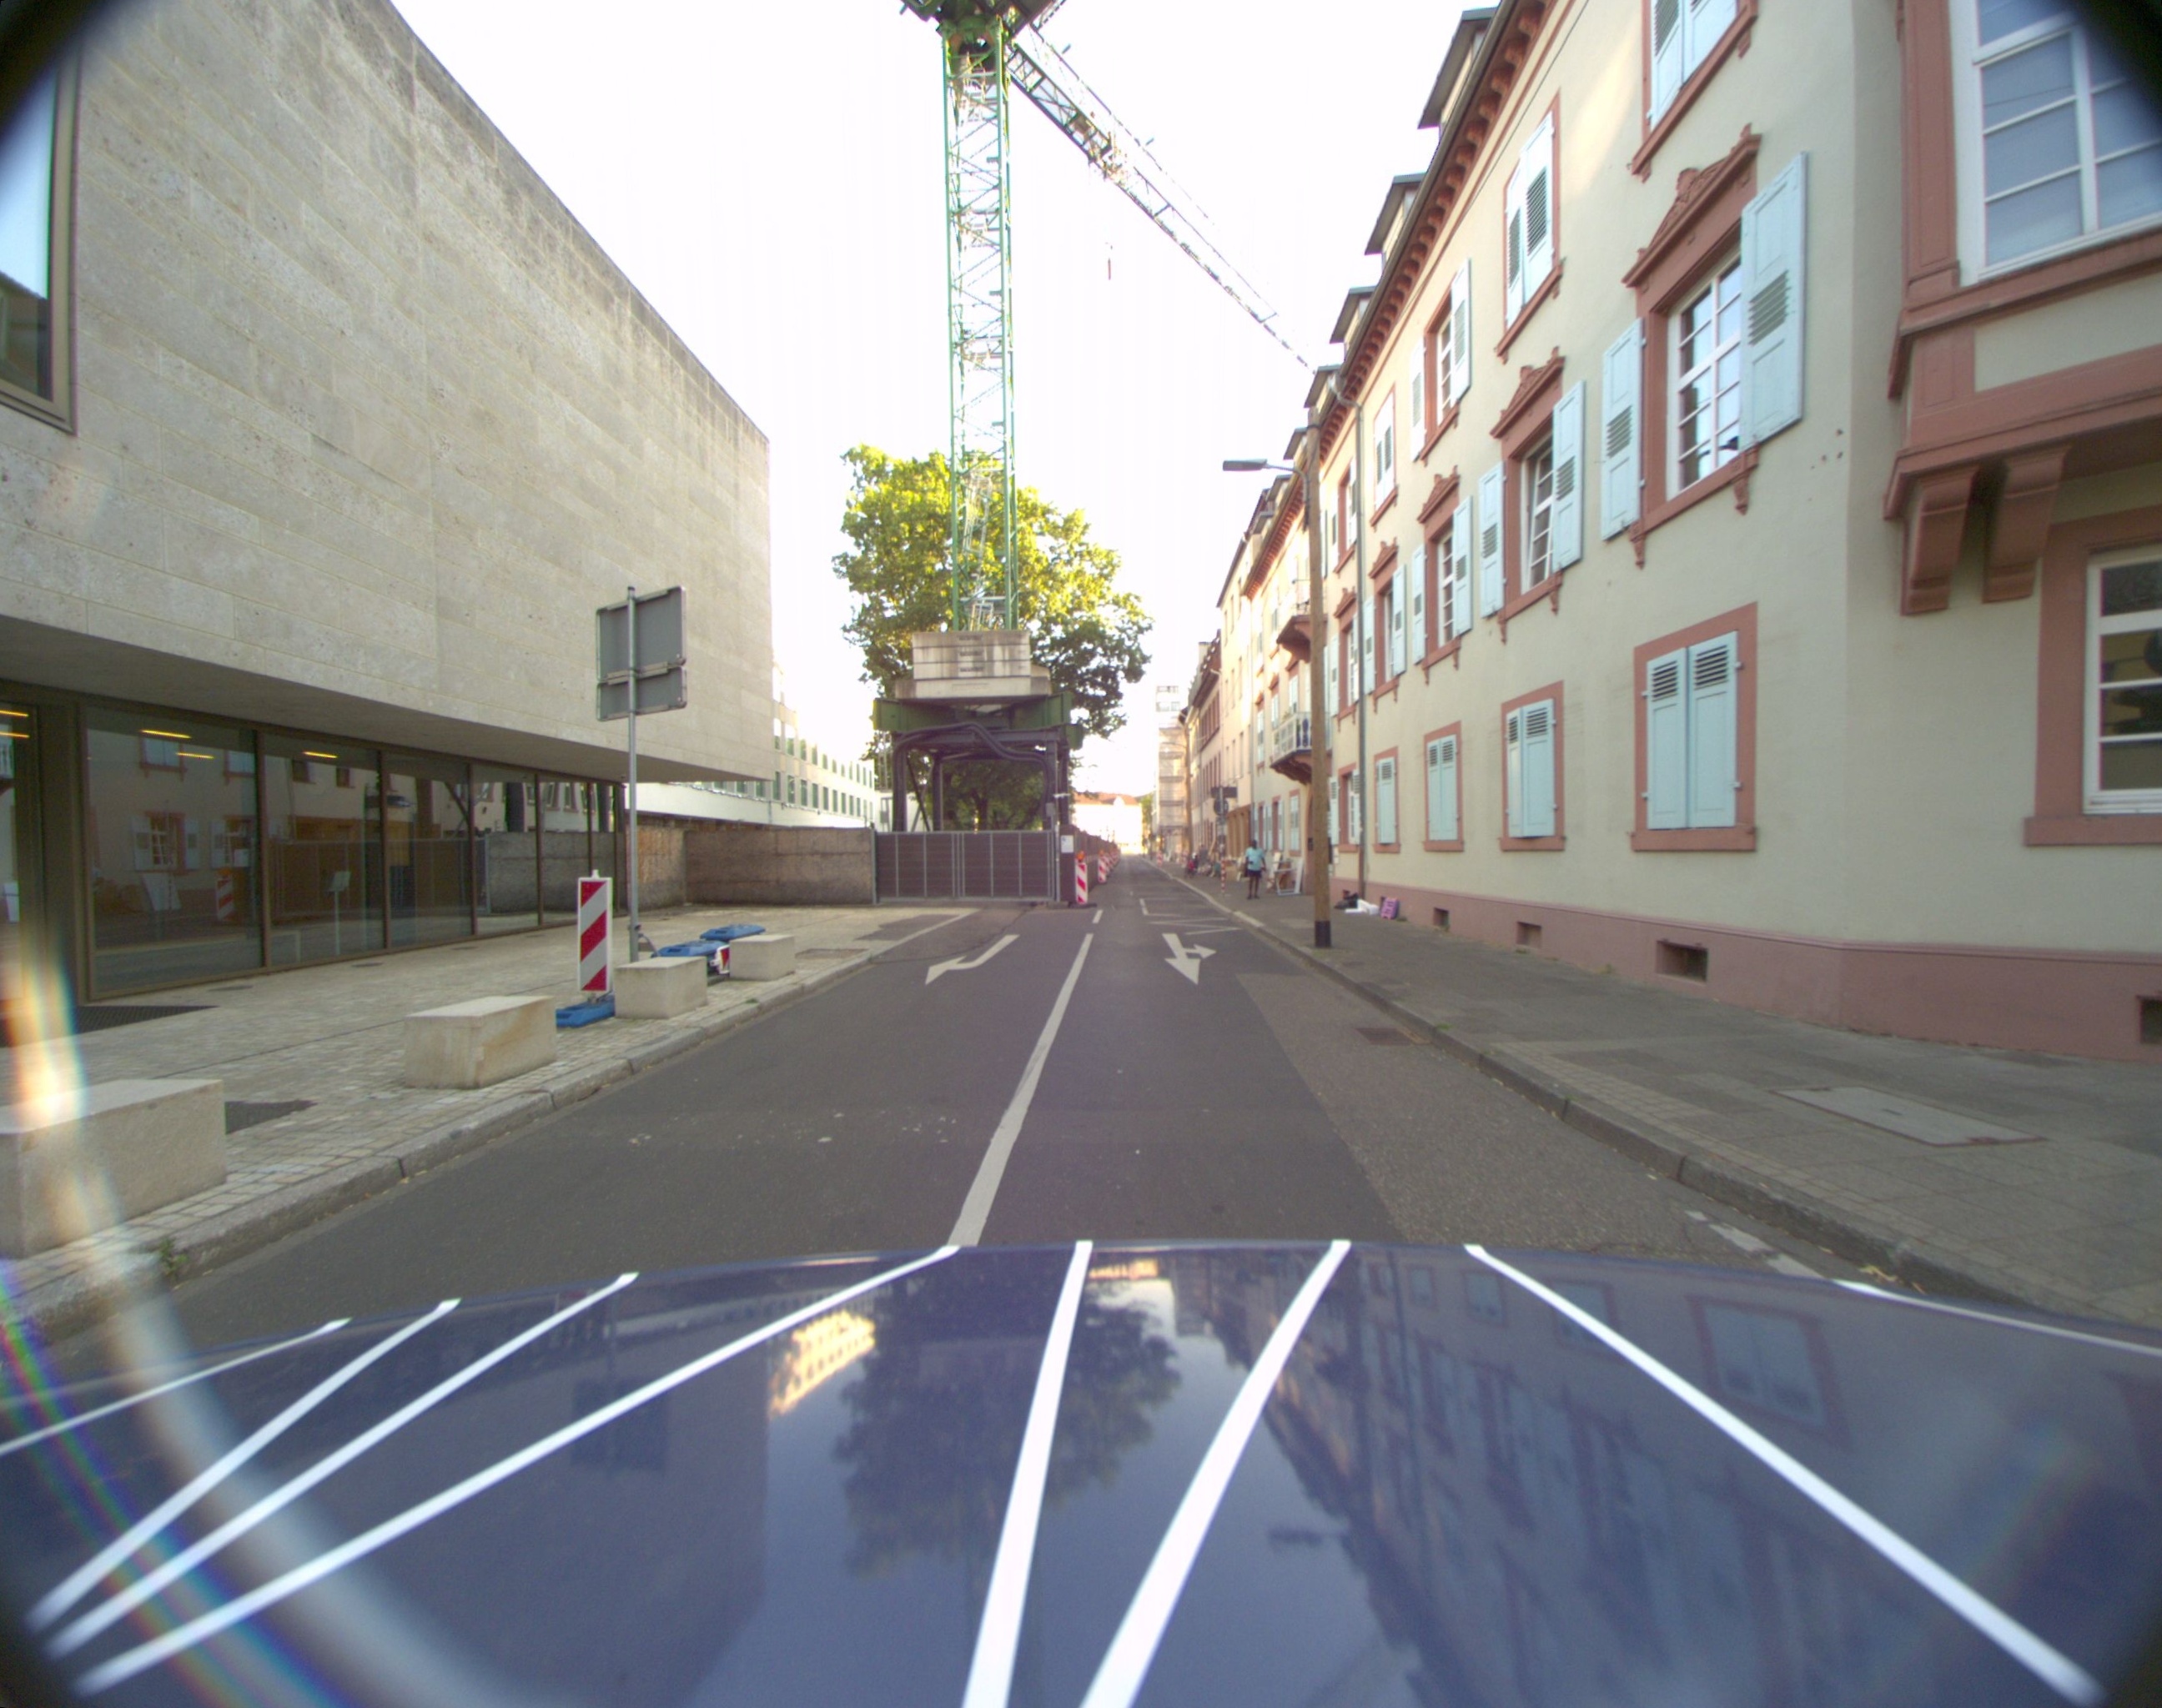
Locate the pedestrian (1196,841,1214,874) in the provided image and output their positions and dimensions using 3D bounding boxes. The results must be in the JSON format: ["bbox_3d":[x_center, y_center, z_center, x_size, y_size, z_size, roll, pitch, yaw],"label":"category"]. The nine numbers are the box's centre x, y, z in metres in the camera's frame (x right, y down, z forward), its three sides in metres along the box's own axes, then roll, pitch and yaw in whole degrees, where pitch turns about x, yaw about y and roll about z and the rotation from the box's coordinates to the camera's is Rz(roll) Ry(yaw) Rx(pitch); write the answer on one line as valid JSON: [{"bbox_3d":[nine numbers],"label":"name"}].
[{"bbox_3d":[6.474,0.200,39.768,0.826,1.687,0.649,-2,1,2],"label":"pedestrian"}]

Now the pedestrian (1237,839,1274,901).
[{"bbox_3d":[4.965,0.457,21.629,0.826,1.687,0.649,-4,1,2],"label":"pedestrian"}]

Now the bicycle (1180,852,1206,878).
[{"bbox_3d":[5.433,0.523,36.756,0.659,1.163,1.611,-1,1,29],"label":"bicycle"}]
